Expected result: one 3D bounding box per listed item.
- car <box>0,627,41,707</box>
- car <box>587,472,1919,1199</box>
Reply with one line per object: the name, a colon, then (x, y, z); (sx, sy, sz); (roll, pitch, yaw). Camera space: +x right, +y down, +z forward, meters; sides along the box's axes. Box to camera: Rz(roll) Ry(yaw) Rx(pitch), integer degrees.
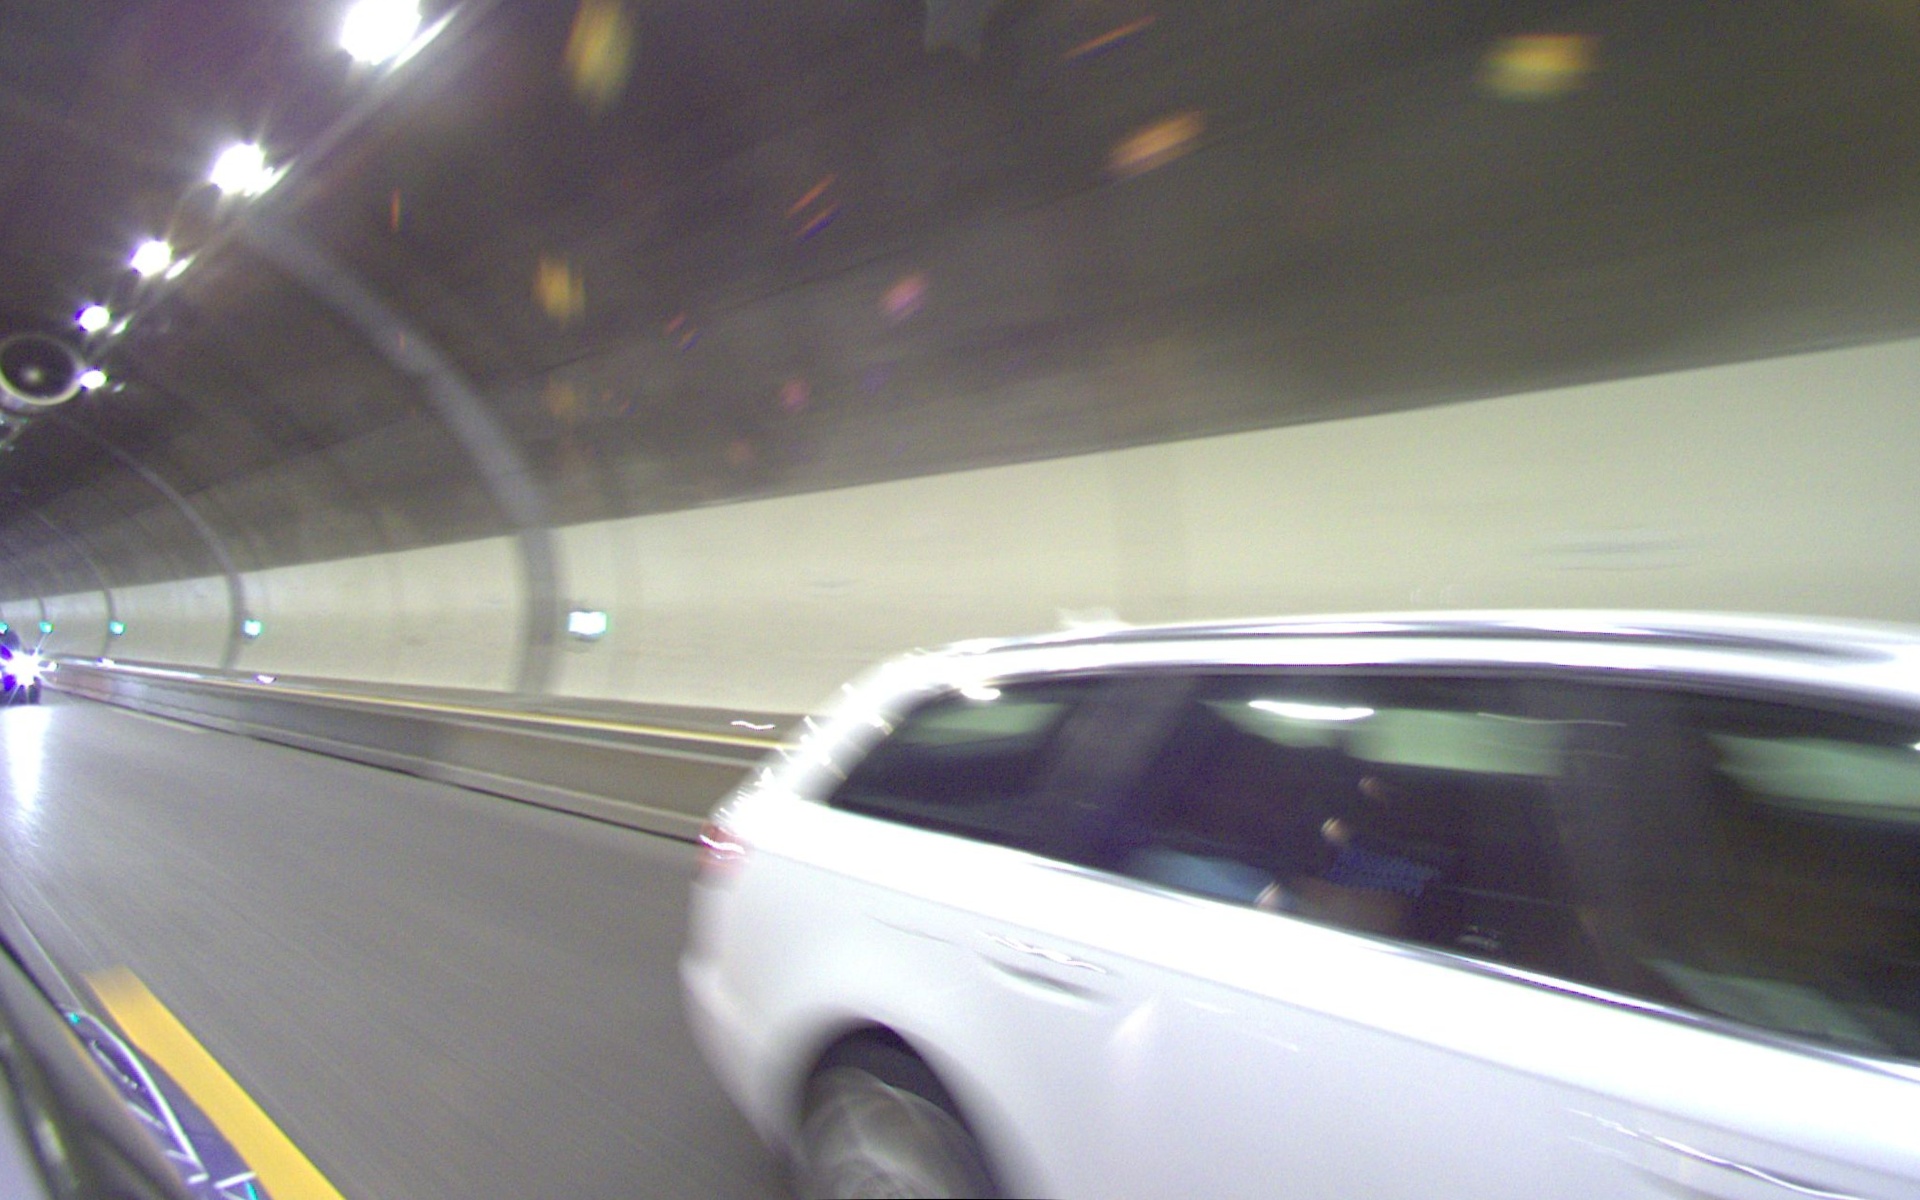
car: (-18.693, 1.223, 19.047); (3.655, 1.414, 1.635); (-1, -2, 41)
car: (1.580, 0.667, 1.599); (4.940, 1.496, 1.884); (-2, -4, 41)
